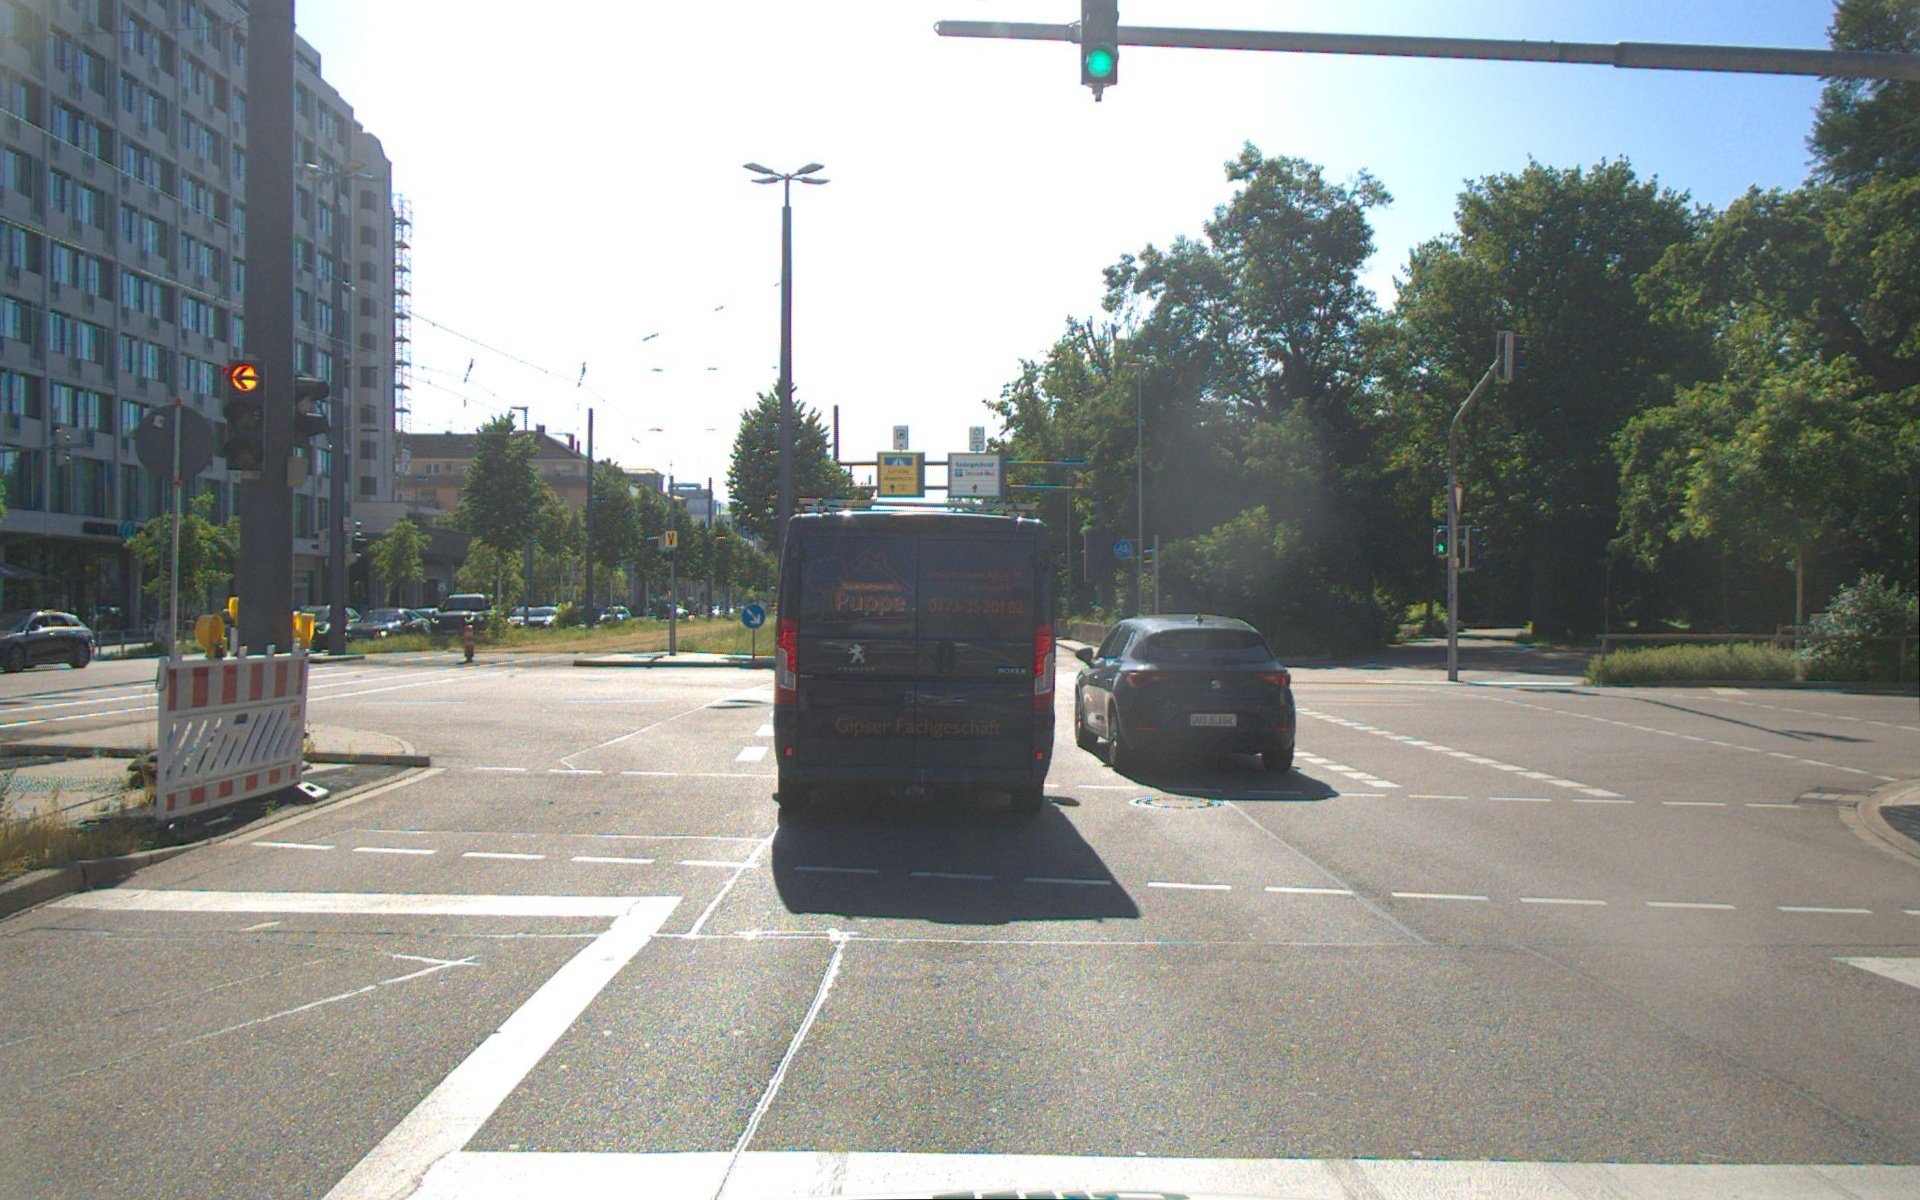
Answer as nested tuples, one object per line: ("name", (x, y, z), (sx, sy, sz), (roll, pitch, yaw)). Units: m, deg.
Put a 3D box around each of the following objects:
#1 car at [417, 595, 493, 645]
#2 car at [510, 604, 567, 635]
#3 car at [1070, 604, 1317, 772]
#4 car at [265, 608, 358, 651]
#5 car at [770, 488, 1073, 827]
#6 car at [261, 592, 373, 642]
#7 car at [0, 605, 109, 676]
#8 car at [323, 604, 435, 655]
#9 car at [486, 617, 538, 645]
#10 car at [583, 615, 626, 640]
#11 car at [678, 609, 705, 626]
("car", (-19.454, 0.760, 63.878), (1.955, 1.851, 4.281), (1, 0, -5))
("car", (-22.417, 1.025, 88.096), (1.952, 1.579, 4.000), (1, 0, 0))
("car", (2.238, 0.799, 16.868), (1.728, 1.488, 3.997), (1, 0, -3))
("car", (-24.948, 1.104, 63.755), (1.952, 1.579, 4.000), (1, 0, 0))
("car", (-0.325, 0.404, 13.340), (2.040, 2.288, 3.998), (1, 0, -2))
("car", (-21.867, 0.570, 56.379), (1.951, 1.579, 4.002), (1, 0, 5))
("car", (-22.270, 0.912, 39.023), (1.951, 1.579, 4.003), (1, 0, 7))
("car", (-19.127, 0.941, 54.633), (1.951, 1.579, 4.002), (1, 0, 5))
("car", (-26.727, 1.823, 98.747), (1.952, 1.579, 4.000), (1, 0, 0))
("car", (-23.419, 1.812, 109.087), (1.952, 1.579, 4.000), (1, 0, 0))
("car", (-26.168, 1.671, 161.362), (1.953, 1.579, 3.999), (1, 0, 0))
